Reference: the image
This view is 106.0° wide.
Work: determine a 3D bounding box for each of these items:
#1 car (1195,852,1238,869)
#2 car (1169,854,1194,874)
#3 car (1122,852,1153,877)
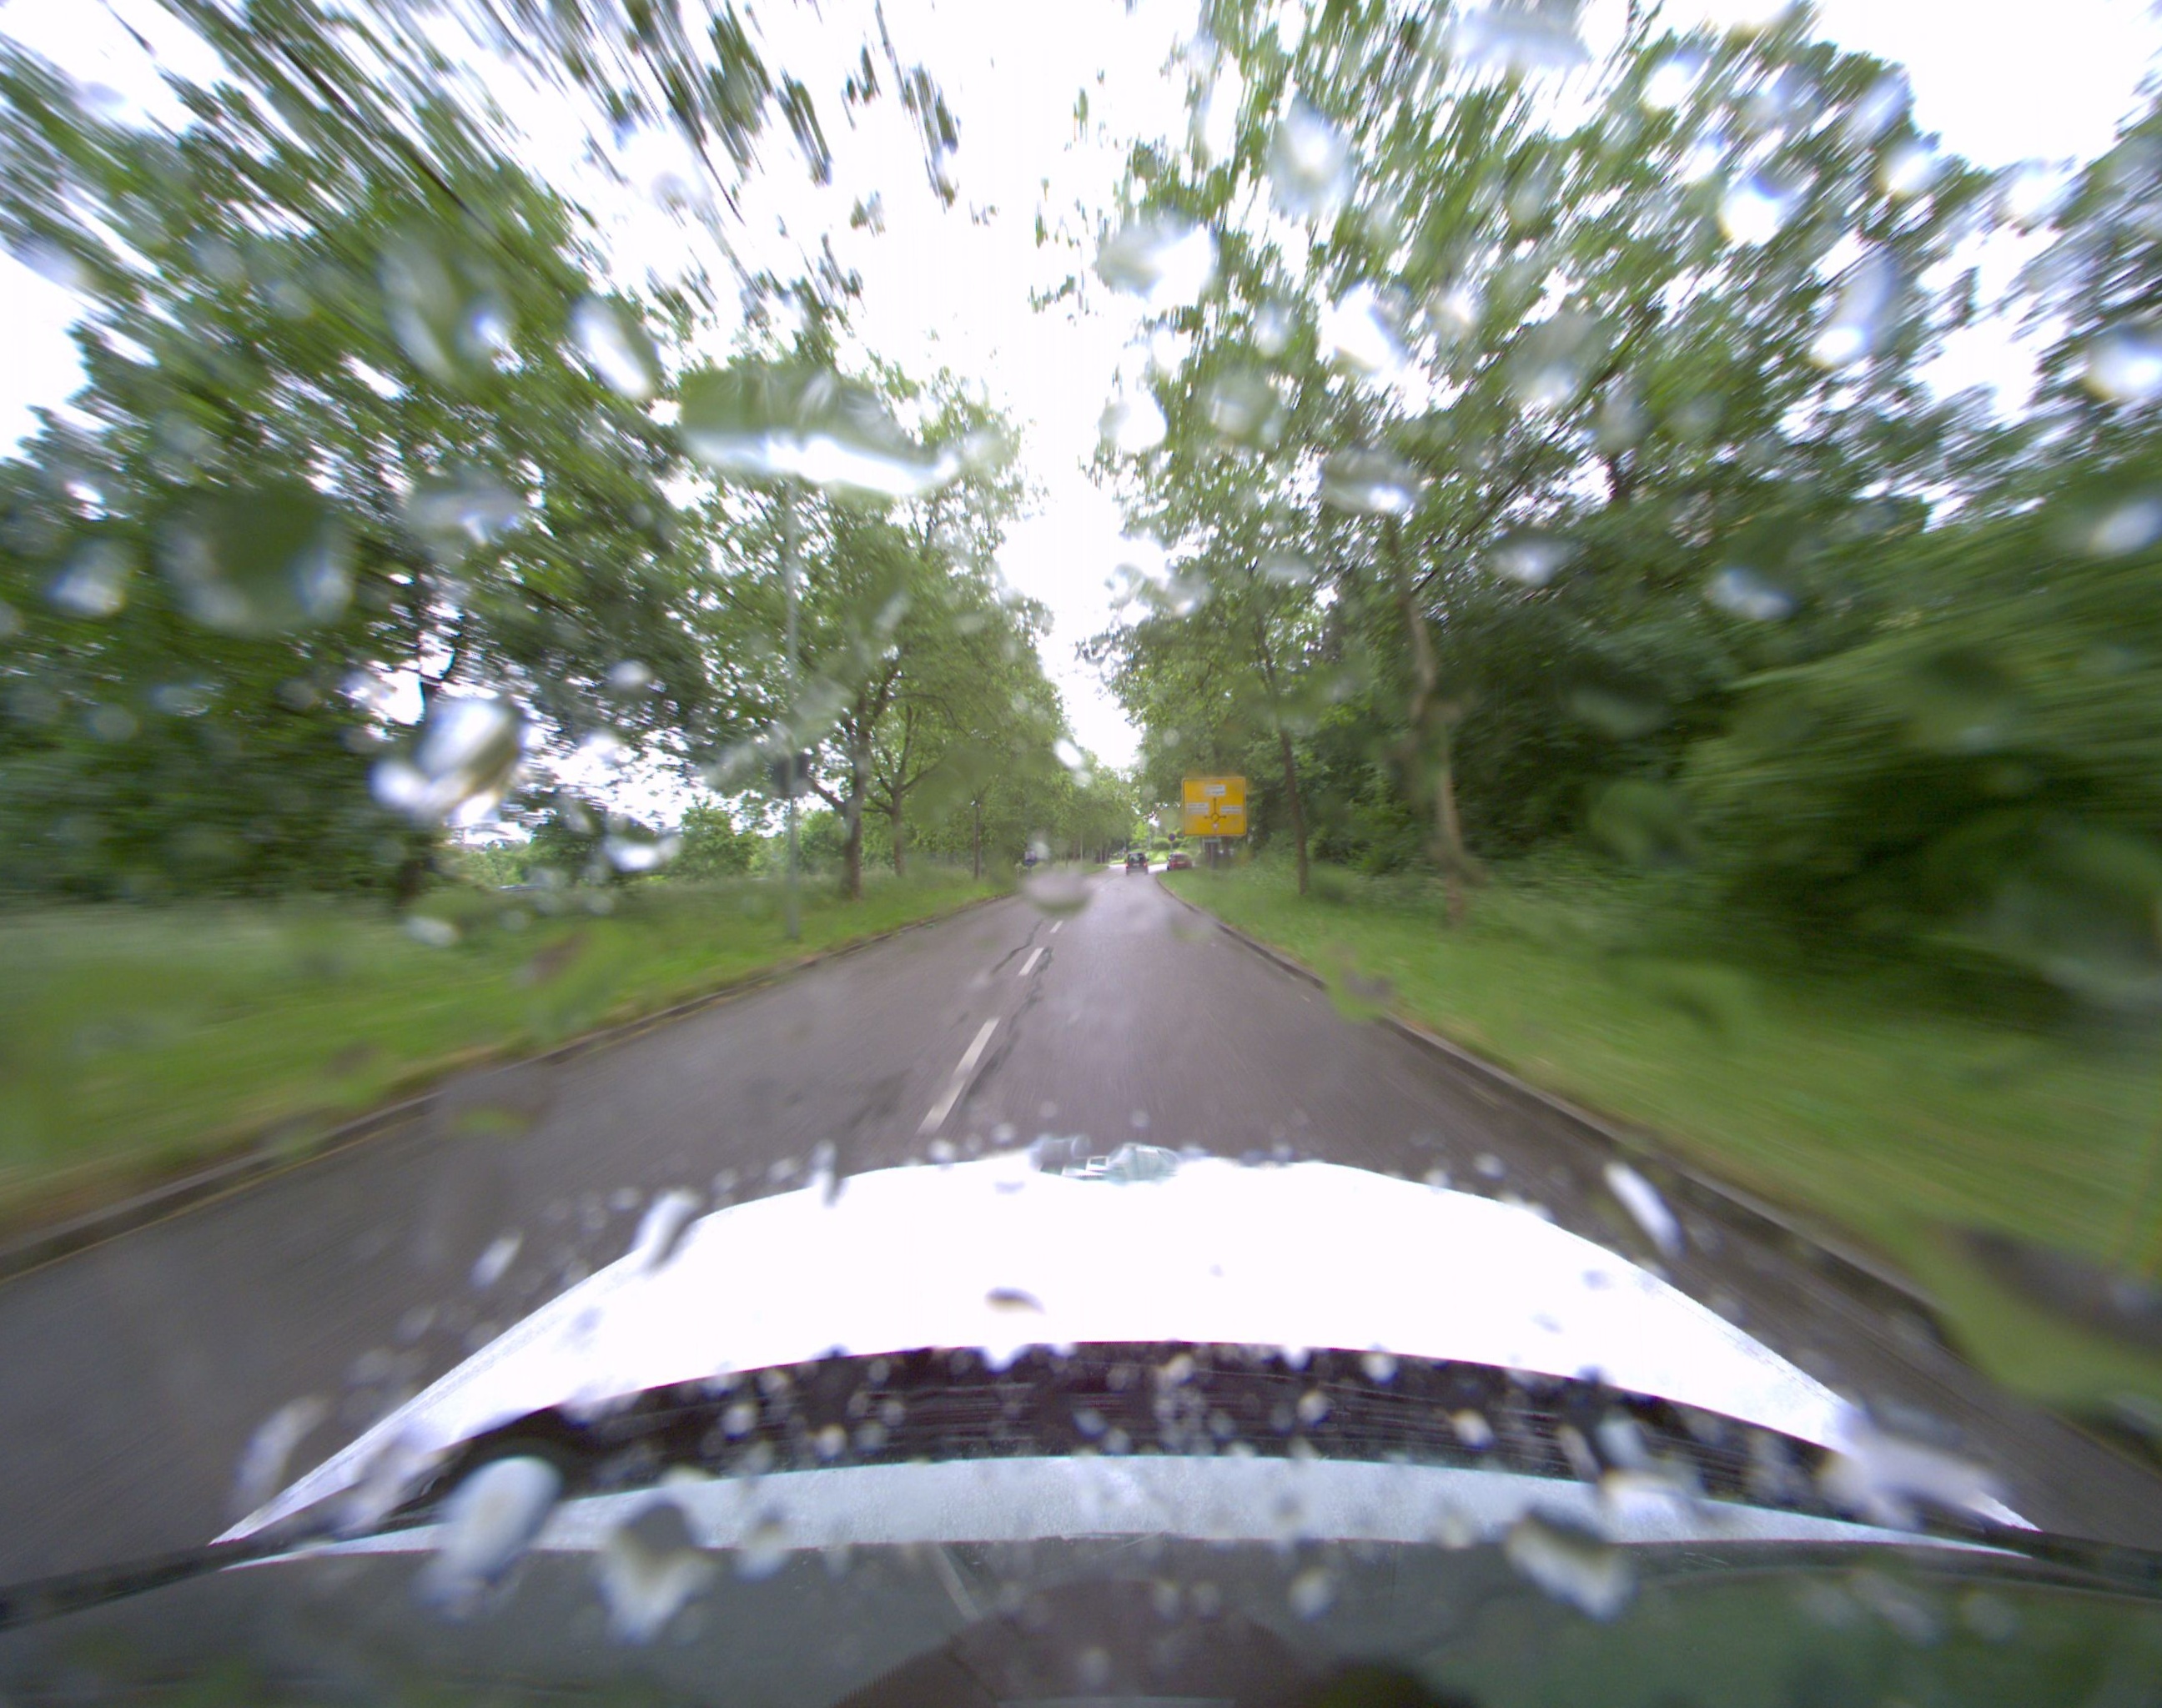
[{"bbox_3d":[14.573,0.664,87.877,4.445,1.680,1.771,-2,0,7],"label":"car"},{"bbox_3d":[7.638,0.769,62.058,1.788,1.372,3.750,-3,-1,6],"label":"car"},{"bbox_3d":[4.646,0.867,66.861,1.906,1.801,3.802,-6,-1,11],"label":"car"}]
